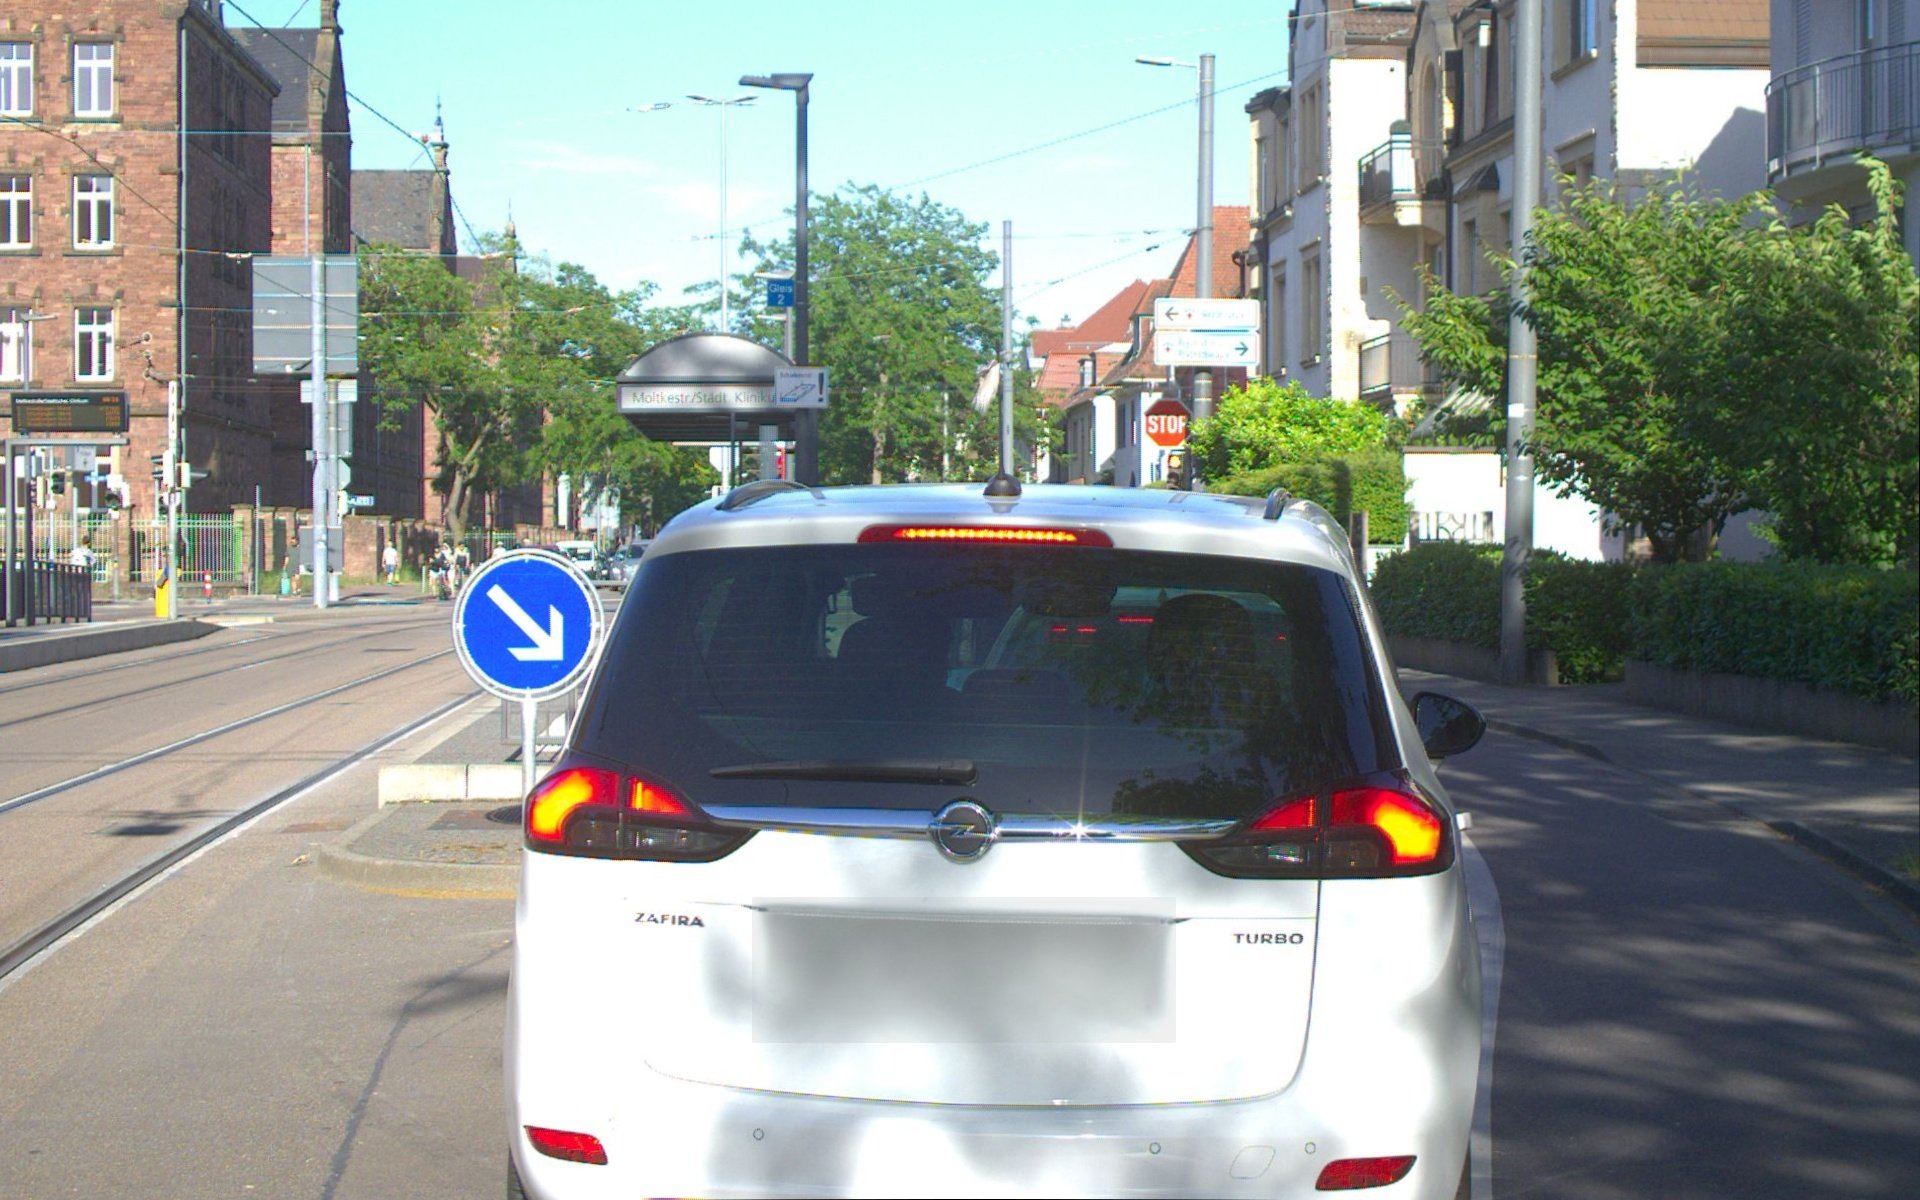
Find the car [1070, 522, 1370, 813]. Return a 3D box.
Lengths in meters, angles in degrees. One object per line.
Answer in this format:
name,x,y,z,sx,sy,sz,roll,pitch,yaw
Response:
car,1.490,0.336,20.815,1.637,1.595,3.854,0,1,2

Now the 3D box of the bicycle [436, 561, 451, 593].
bicycle,-15.484,-0.703,103.070,0.344,0.946,1.160,1,0,-4

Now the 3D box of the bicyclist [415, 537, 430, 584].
bicyclist,-17.982,-1.323,115.083,0.444,1.548,0.496,0,1,-4

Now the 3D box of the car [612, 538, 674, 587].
car,-10.534,-1.258,114.404,1.993,1.623,4.001,0,1,-5

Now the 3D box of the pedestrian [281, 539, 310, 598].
pedestrian,-19.391,-0.923,100.373,0.734,1.708,0.706,1,0,-4

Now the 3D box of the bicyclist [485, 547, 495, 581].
bicyclist,-18.080,-1.396,132.138,0.359,1.299,0.398,0,1,-4

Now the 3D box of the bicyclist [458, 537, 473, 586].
bicyclist,-15.689,-1.232,109.137,0.444,1.548,0.496,0,1,-4

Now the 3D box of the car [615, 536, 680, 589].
car,-9.737,-1.176,107.297,1.993,1.623,4.001,0,1,-5

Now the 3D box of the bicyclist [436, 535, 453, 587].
bicyclist,-15.475,-1.172,103.270,0.444,1.548,0.743,0,1,-4

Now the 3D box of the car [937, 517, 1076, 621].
car,0.664,-0.480,51.747,1.993,1.497,4.000,0,1,-1

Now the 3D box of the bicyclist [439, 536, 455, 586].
bicyclist,-15.894,-1.209,106.553,0.444,1.548,0.496,0,1,-4

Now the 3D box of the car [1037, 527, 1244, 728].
car,1.491,0.185,29.242,1.637,1.595,3.854,0,1,2

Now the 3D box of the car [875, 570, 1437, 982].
car,0.742,0.593,13.969,1.953,1.392,4.000,0,1,2

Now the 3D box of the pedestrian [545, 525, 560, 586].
pedestrian,-13.305,-1.459,112.237,0.444,2.007,0.496,0,1,-4

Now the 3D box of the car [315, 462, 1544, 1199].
car,0.133,0.586,7.589,1.994,1.639,3.992,1,1,6

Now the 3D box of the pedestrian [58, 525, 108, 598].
pedestrian,-20.296,-0.896,79.575,0.895,1.678,1.029,1,0,-1

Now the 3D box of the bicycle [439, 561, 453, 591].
bicycle,-15.930,-0.745,106.602,0.344,0.946,0.997,1,0,-4

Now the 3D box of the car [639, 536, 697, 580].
car,-11.081,-1.601,130.641,1.993,1.623,4.001,0,1,-2

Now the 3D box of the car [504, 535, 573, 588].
car,-13.117,-1.213,107.074,1.993,1.623,4.001,0,1,-5

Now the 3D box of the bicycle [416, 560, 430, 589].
bicycle,-17.987,-0.858,115.127,0.344,0.946,0.997,1,0,-4

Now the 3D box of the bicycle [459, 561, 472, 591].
bicycle,-15.699,-0.767,109.152,0.344,0.946,0.997,1,0,-4

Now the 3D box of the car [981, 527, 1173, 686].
car,1.173,0.031,36.166,1.830,1.574,4.010,0,1,-1

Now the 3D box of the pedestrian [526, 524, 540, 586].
pedestrian,-13.908,-1.464,111.942,0.444,2.007,0.496,0,1,-4
